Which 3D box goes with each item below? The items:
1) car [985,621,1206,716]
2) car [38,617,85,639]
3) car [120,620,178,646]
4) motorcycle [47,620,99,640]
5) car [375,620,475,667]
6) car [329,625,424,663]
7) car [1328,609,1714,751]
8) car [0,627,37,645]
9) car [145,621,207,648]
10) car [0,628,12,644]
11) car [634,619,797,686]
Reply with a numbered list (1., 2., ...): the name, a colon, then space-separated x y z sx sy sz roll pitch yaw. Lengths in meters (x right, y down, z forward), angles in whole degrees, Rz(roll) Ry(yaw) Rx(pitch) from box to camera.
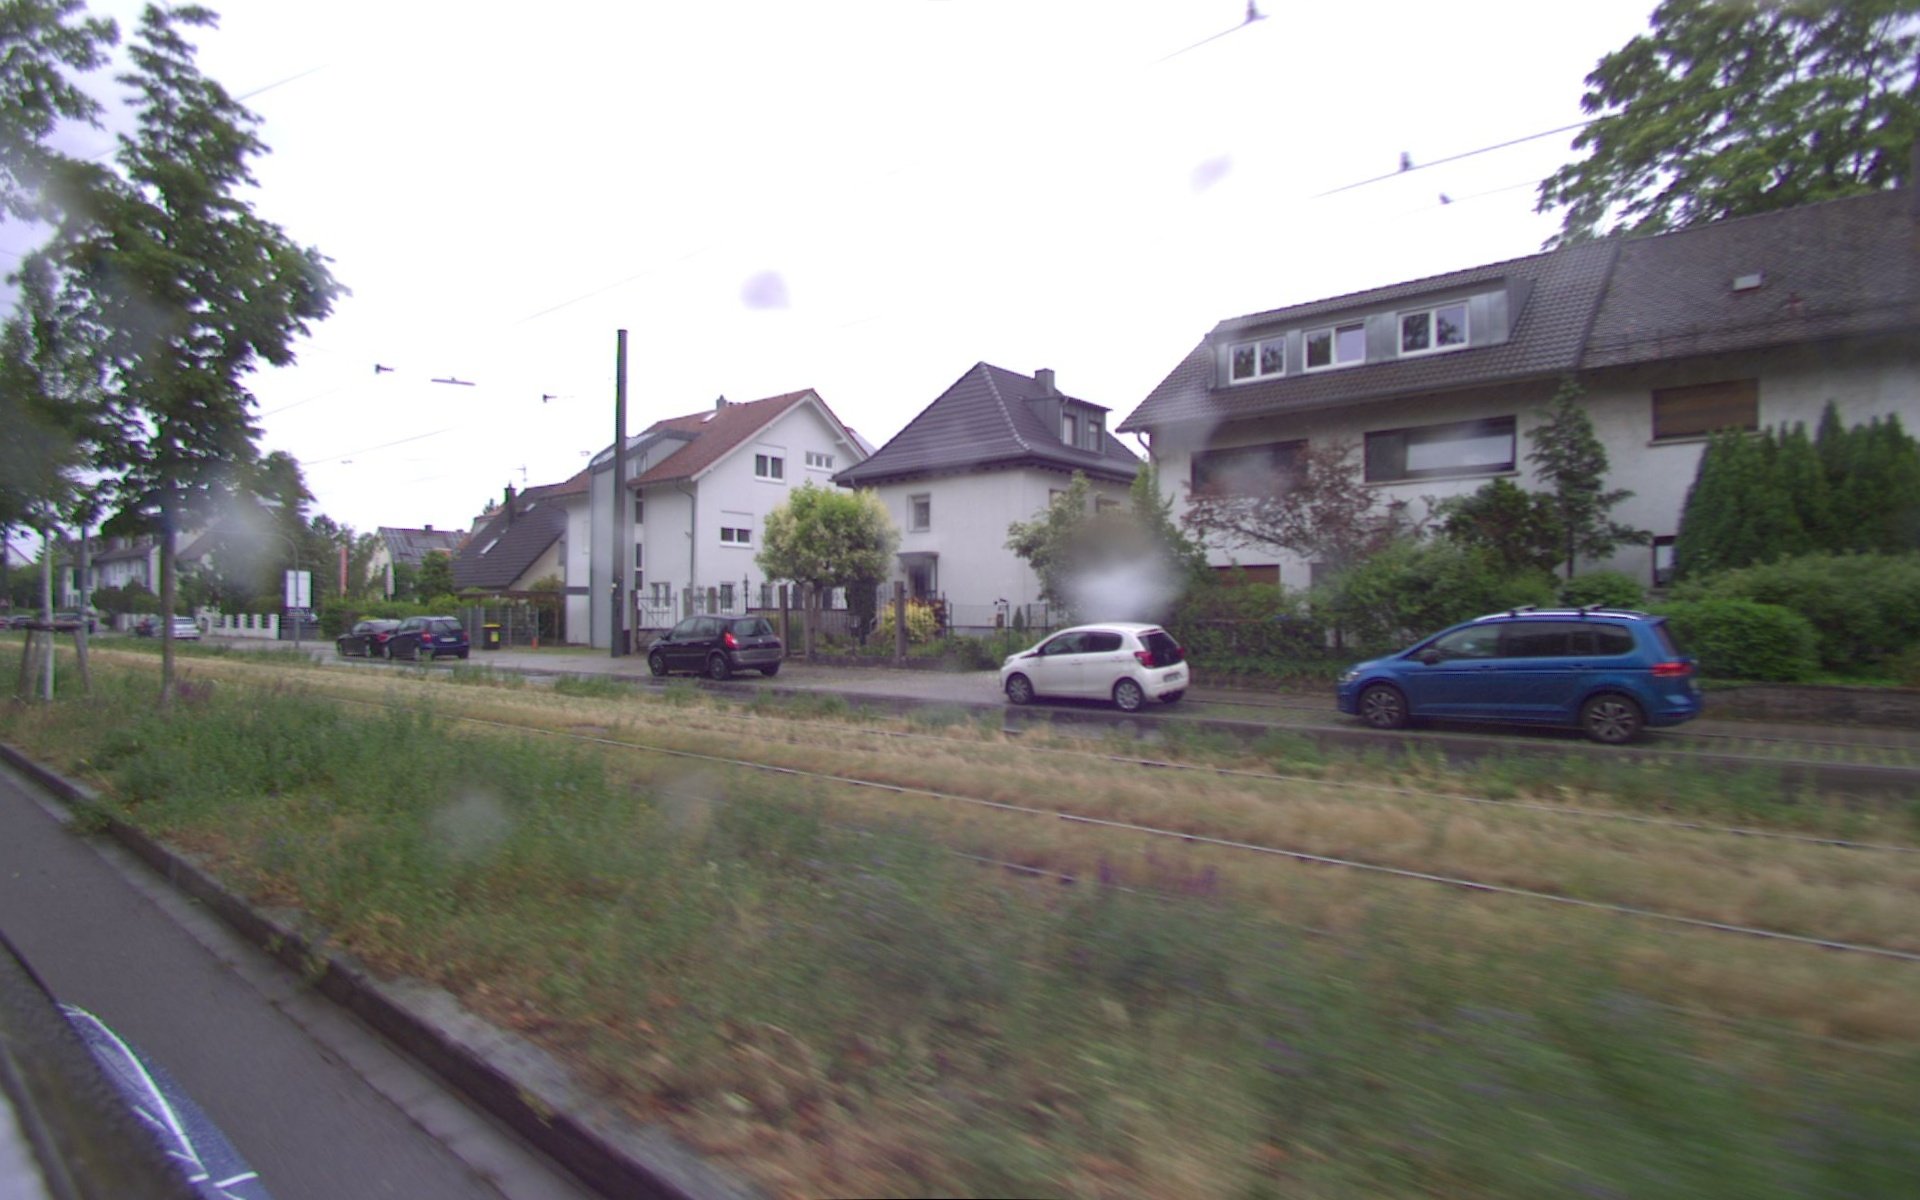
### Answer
1. car: 2.415 1.171 18.452 3.594 1.500 1.778 -1 0 41
2. car: -70.396 2.164 79.272 4.380 1.687 1.975 -1 -1 37
3. car: -49.648 2.029 61.925 4.528 1.466 1.973 -1 0 41
4. motorcycle: -66.201 2.267 75.579 2.645 1.421 1.269 0 0 -9
5. car: -19.672 1.568 37.157 3.866 1.562 1.855 -1 0 39
6. car: -23.177 1.699 40.159 4.237 1.361 1.973 -1 0 41
7. car: 7.708 0.987 14.132 4.410 1.626 1.973 -1 0 40
8. car: -83.287 3.163 89.410 4.758 1.421 1.973 -1 0 41
9. car: -45.526 1.984 58.760 3.966 1.421 1.974 -1 0 39
10. car: -91.871 3.406 96.466 3.998 1.468 1.779 -1 0 41
11. car: -6.327 1.289 26.013 4.203 1.528 1.973 -1 0 41
